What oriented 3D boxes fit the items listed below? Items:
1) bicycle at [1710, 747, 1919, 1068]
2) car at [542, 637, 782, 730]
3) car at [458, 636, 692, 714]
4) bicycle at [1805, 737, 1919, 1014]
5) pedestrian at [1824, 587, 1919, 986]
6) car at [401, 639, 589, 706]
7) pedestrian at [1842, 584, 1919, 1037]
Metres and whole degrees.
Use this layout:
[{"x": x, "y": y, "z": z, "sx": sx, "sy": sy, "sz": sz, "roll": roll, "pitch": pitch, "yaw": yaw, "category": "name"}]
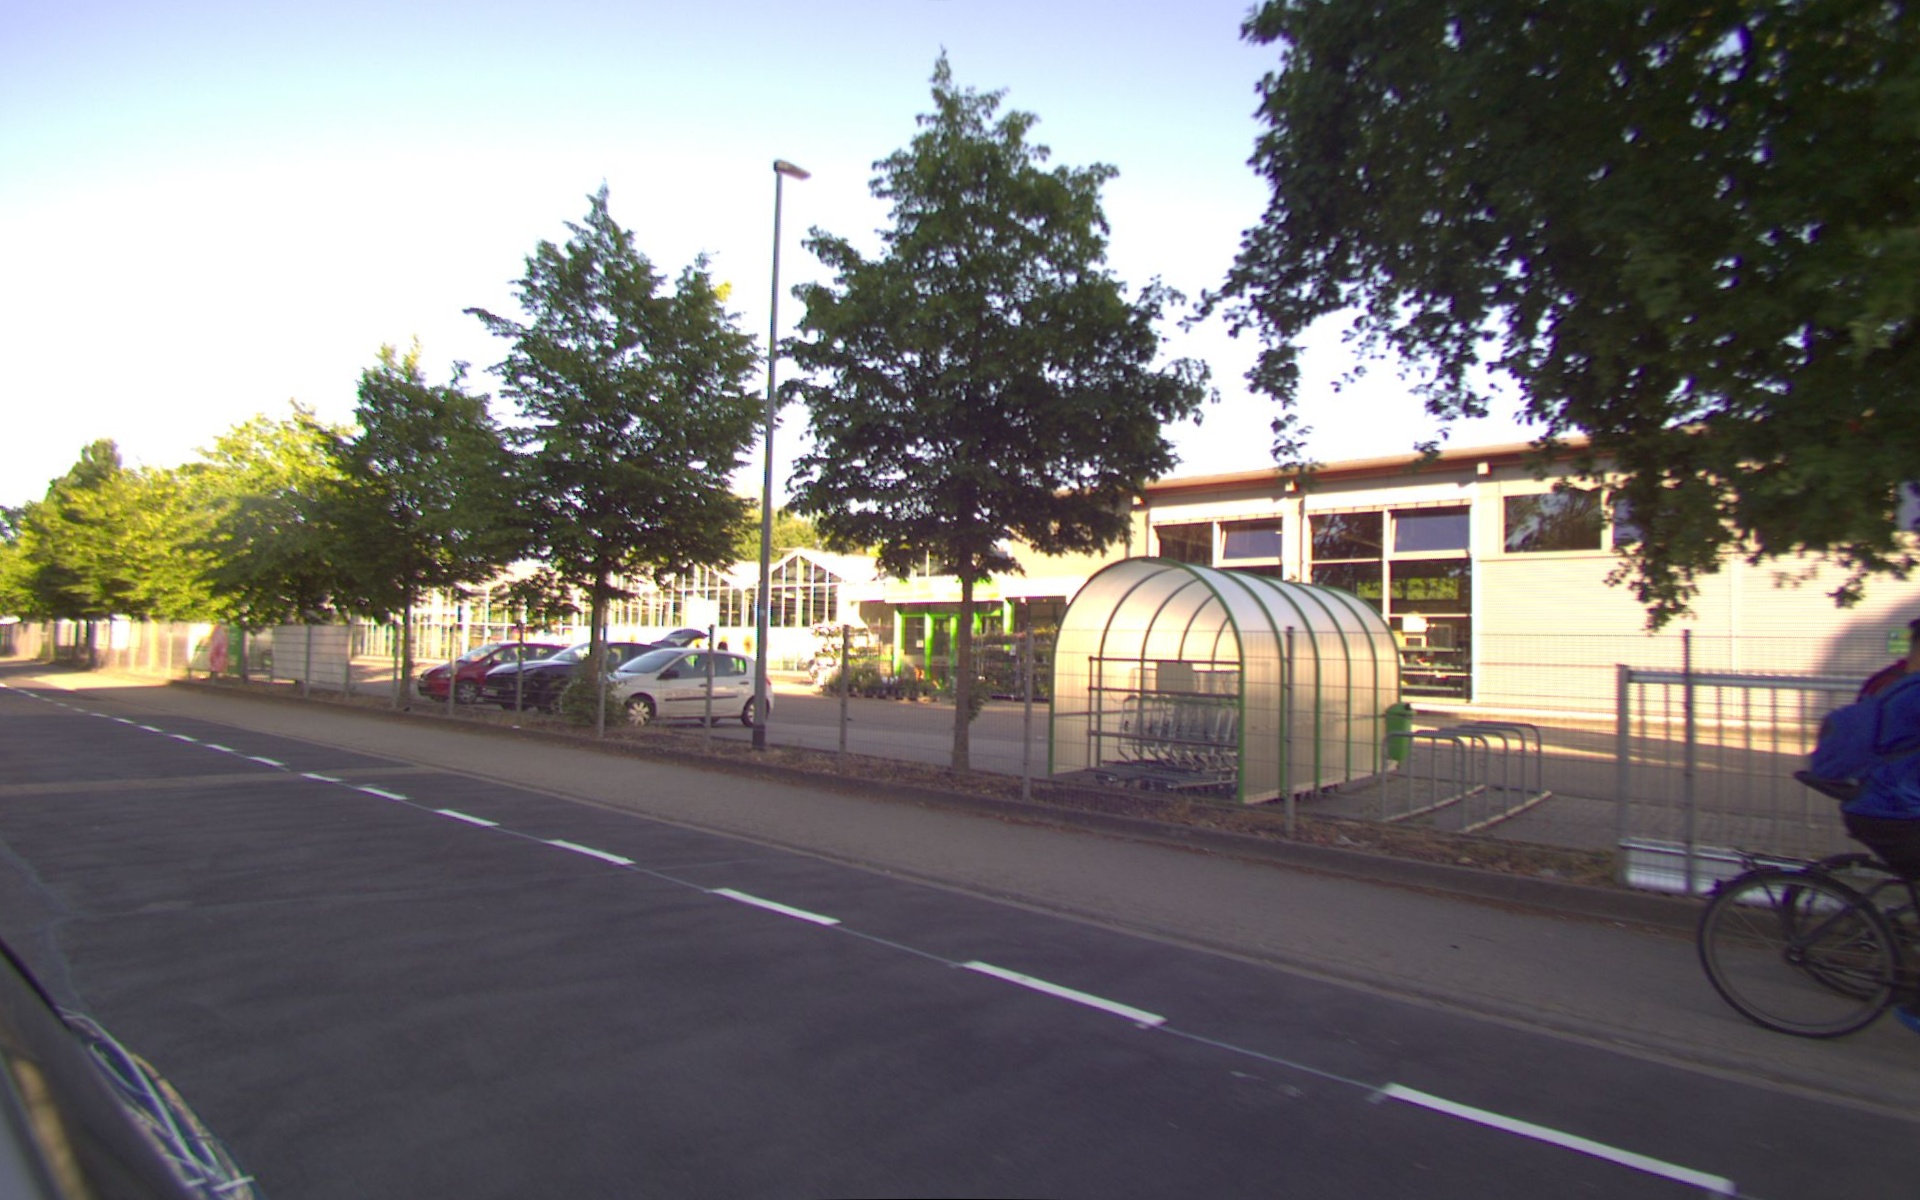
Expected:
[{"x": 4.232, "y": 1.237, "z": 3.824, "sx": 2.199, "sy": 1.157, "sz": 0.441, "roll": -2, "pitch": -2, "yaw": 41, "category": "bicycle"}, {"x": -5.376, "y": 1.573, "z": 18.650, "sx": 1.784, "sy": 1.523, "sz": 3.849, "roll": -2, "pitch": -7, "yaw": 40, "category": "car"}, {"x": -8.100, "y": 1.628, "z": 21.595, "sx": 2.050, "sy": 1.462, "sz": 4.144, "roll": -2, "pitch": -6, "yaw": 39, "category": "car"}, {"x": 4.825, "y": 1.242, "z": 4.298, "sx": 1.868, "sy": 1.157, "sz": 0.465, "roll": -2, "pitch": -2, "yaw": 41, "category": "bicycle"}, {"x": 4.607, "y": 0.821, "z": 4.546, "sx": 1.056, "sy": 1.734, "sz": 0.713, "roll": -2, "pitch": -4, "yaw": 41, "category": "pedestrian"}, {"x": -11.307, "y": 1.793, "z": 24.790, "sx": 1.803, "sy": 1.462, "sz": 3.689, "roll": -2, "pitch": -6, "yaw": 39, "category": "car"}, {"x": 4.180, "y": 0.812, "z": 3.949, "sx": 1.056, "sy": 1.734, "sz": 0.713, "roll": -2, "pitch": -4, "yaw": 41, "category": "pedestrian"}]
